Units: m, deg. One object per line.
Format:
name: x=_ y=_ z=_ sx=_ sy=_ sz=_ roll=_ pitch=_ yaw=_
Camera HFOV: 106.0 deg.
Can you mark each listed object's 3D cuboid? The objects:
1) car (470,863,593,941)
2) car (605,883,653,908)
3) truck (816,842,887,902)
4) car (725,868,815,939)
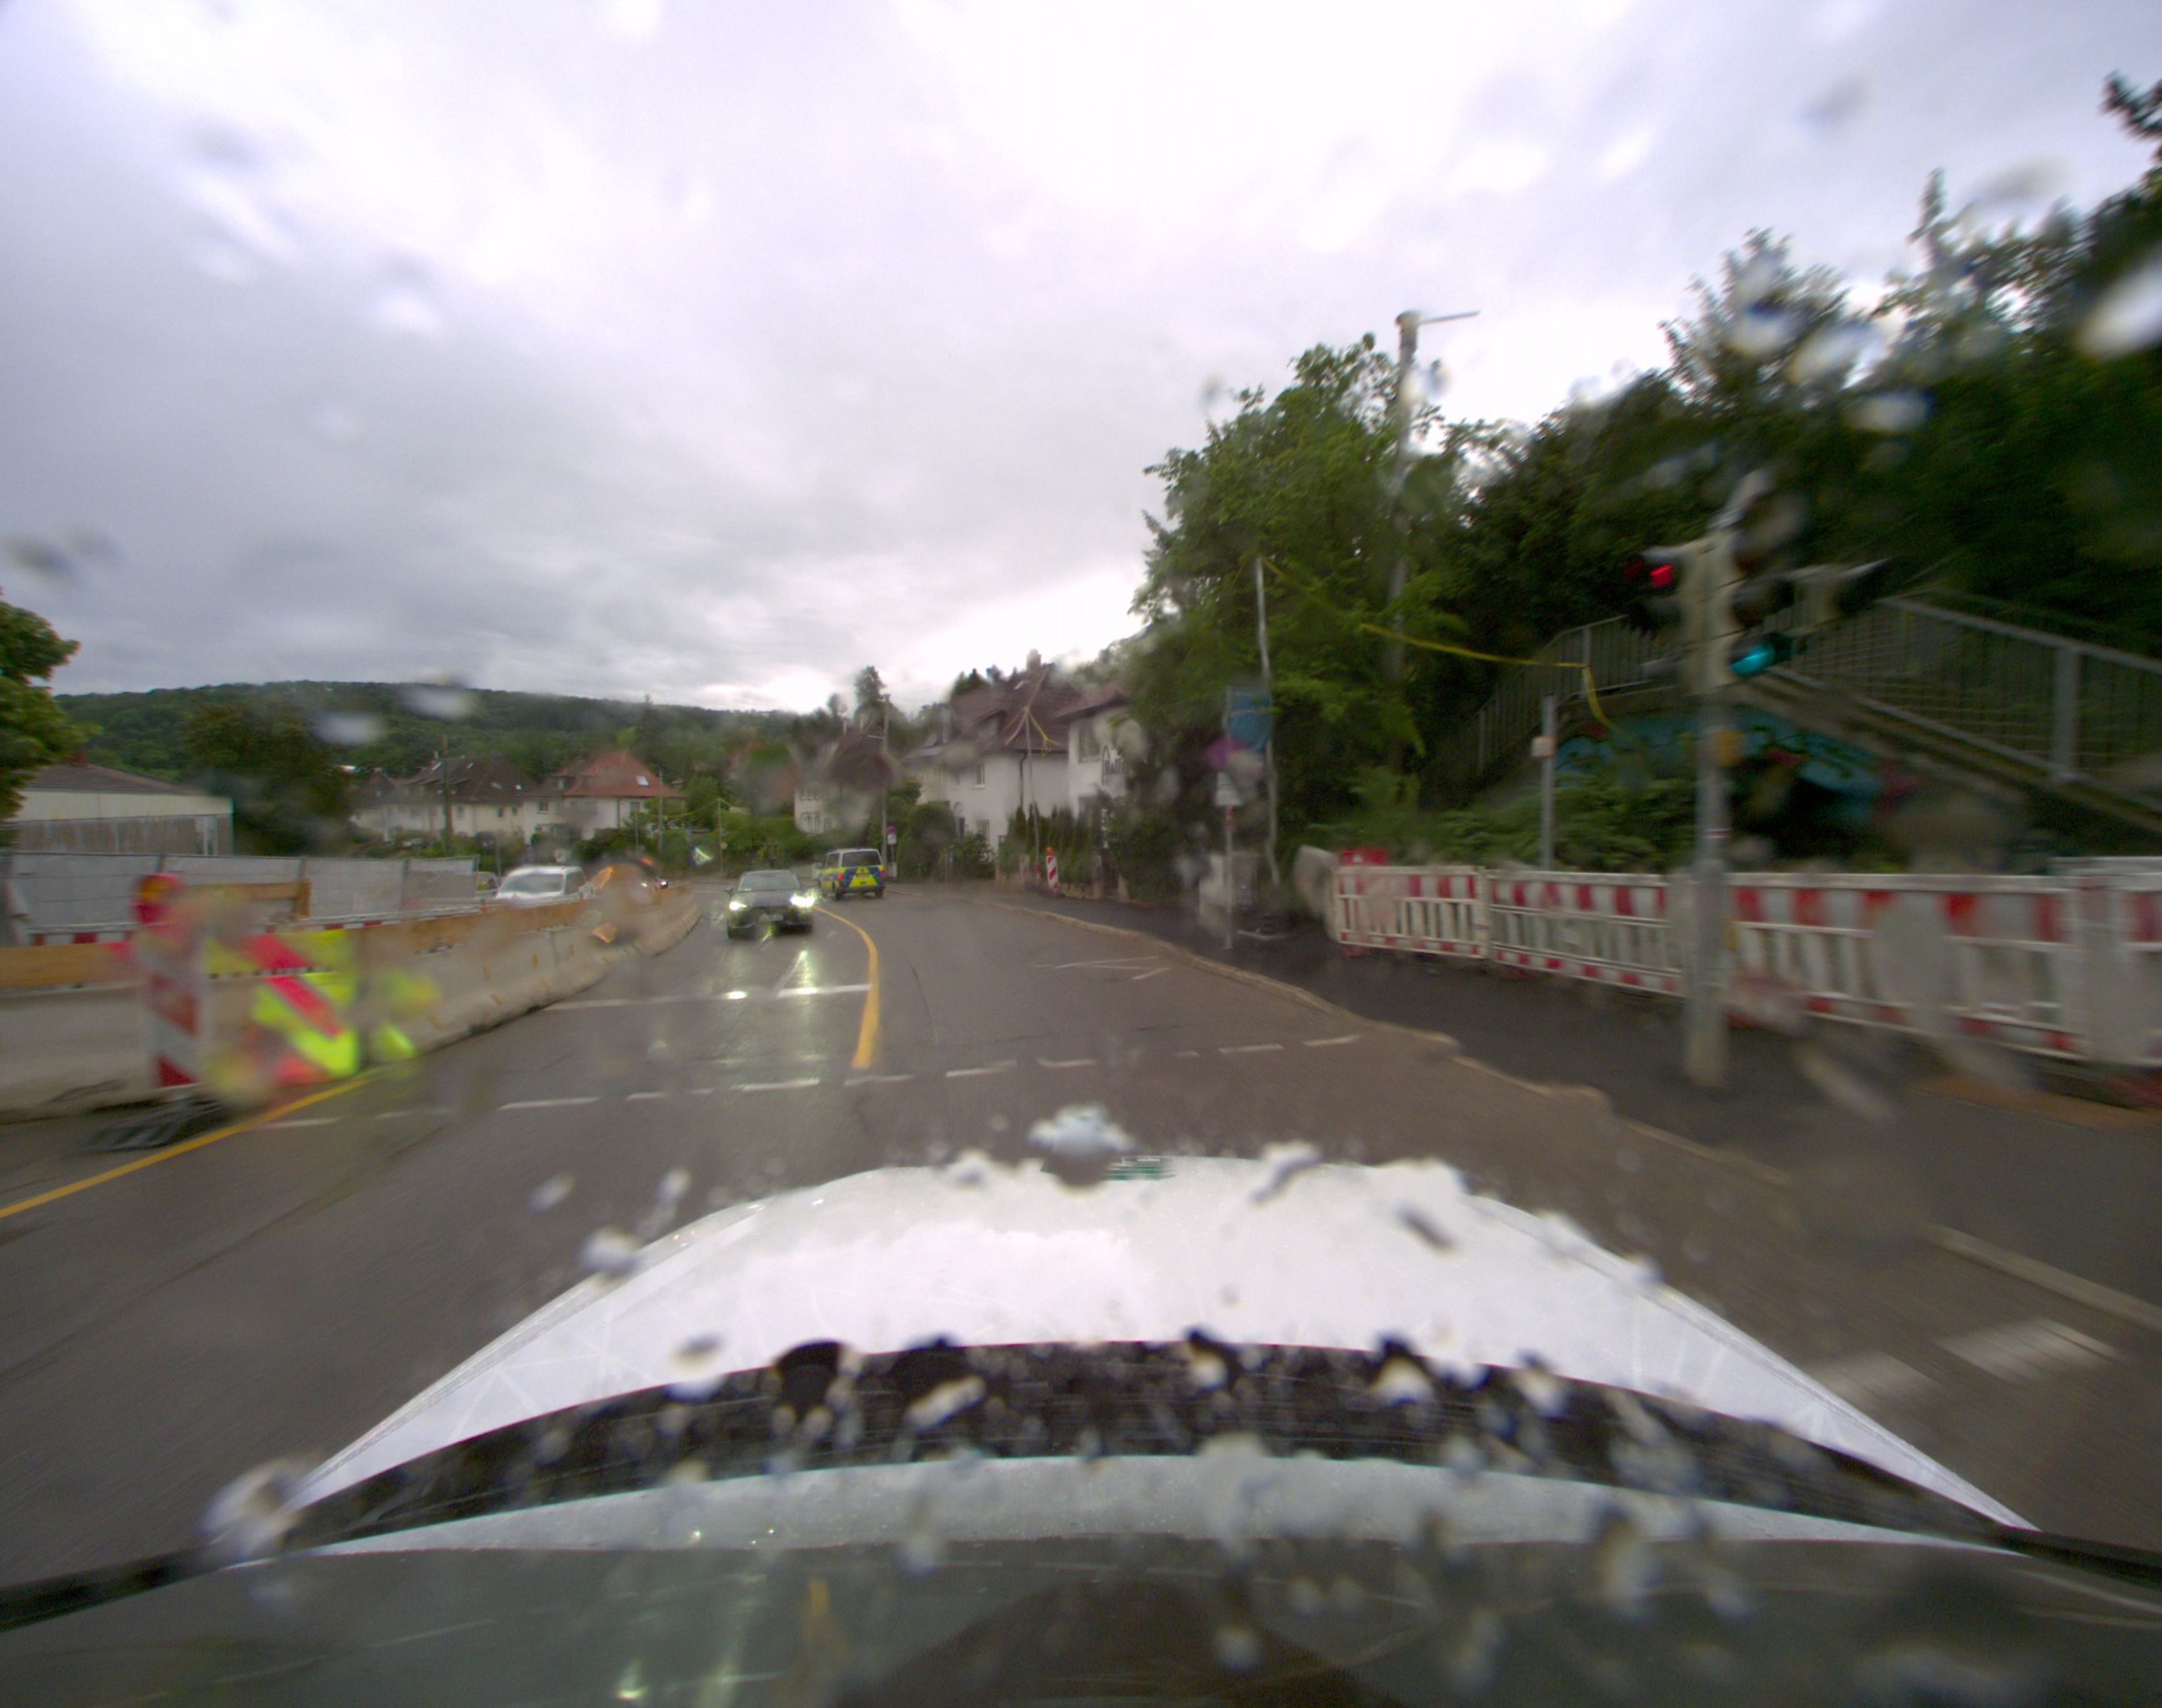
car: x=-15.906 y=1.339 z=23.868 sx=2.002 sy=2.014 sz=4.770 roll=0 pitch=-2 yaw=-22
car: x=-28.166 y=2.621 z=50.737 sx=1.663 sy=1.311 sz=4.212 roll=-6 pitch=1 yaw=-41
truck: x=-9.389 y=0.649 z=33.052 sx=2.003 sy=2.013 sz=4.697 roll=-3 pitch=4 yaw=-25
car: x=-7.382 y=1.070 z=19.455 sx=1.790 sy=1.403 sz=4.335 roll=-1 pitch=0 yaw=-20
